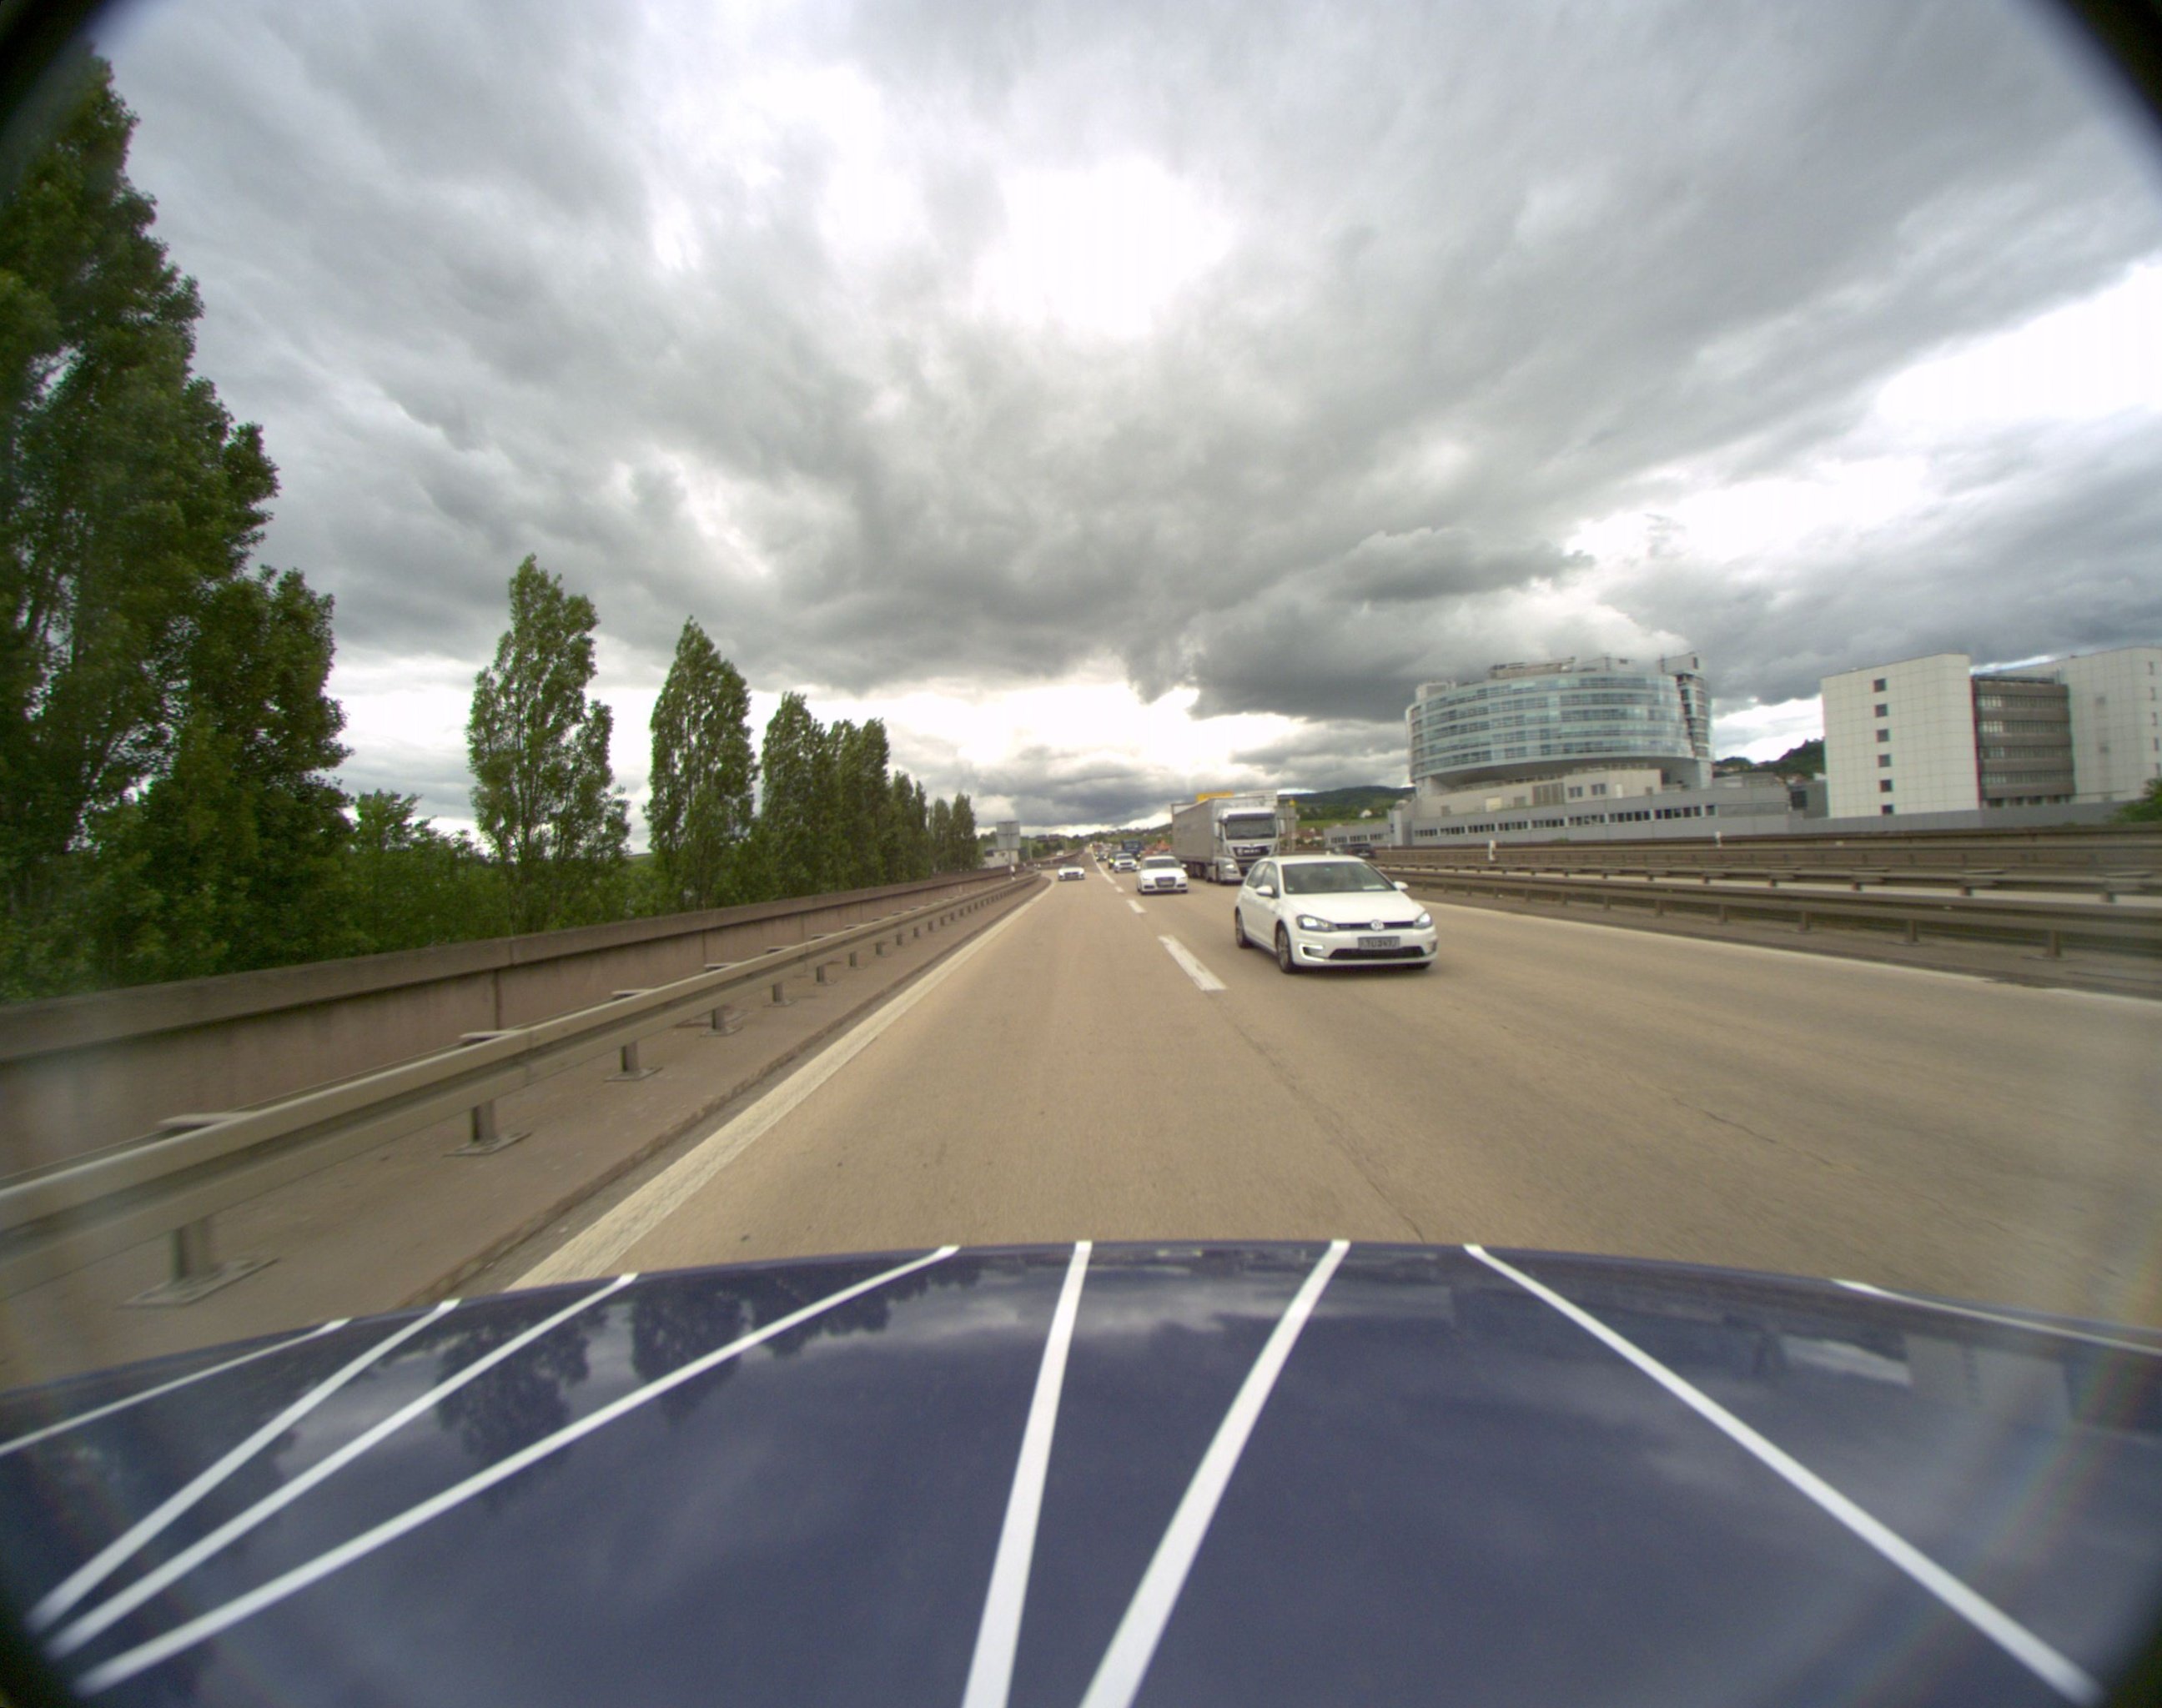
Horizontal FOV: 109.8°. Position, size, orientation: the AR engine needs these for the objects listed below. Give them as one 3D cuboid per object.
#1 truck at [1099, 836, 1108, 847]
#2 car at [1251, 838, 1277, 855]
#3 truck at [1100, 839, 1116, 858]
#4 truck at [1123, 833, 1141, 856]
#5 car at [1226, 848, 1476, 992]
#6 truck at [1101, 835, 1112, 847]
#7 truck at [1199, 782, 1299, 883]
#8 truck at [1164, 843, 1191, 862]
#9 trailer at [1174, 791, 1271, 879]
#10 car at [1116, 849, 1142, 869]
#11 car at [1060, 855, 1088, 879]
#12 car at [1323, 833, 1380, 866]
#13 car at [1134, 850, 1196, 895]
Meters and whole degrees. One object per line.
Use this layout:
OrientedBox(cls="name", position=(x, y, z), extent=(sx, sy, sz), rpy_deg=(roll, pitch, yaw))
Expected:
OrientedBox(cls="truck", position=(7.050, -3.936, 240.567), extent=(2.626, 3.219, 6.685), rpy_deg=(-2, 1, 1))
OrientedBox(cls="car", position=(19.062, -0.742, 79.153), extent=(1.687, 1.641, 3.775), rpy_deg=(-3, 1, 0))
OrientedBox(cls="truck", position=(4.867, -0.984, 137.677), extent=(2.626, 3.219, 6.685), rpy_deg=(-2, 1, 1))
OrientedBox(cls="truck", position=(7.687, -1.453, 115.642), extent=(2.336, 3.219, 6.685), rpy_deg=(-2, 1, 1))
OrientedBox(cls="car", position=(3.351, 0.709, 10.357), extent=(1.930, 1.499, 4.061), rpy_deg=(-2, 1, 0))
OrientedBox(cls="truck", position=(7.132, -3.668, 212.848), extent=(2.626, 3.219, 6.685), rpy_deg=(-2, 1, 1))
OrientedBox(cls="truck", position=(7.446, -0.921, 34.524), extent=(3.142, 4.014, 5.688), rpy_deg=(-4, 1, 1))
OrientedBox(cls="truck", position=(8.326, -0.115, 65.734), extent=(1.829, 1.521, 3.513), rpy_deg=(-2, 1, 0))
OrientedBox(cls="trailer", position=(7.530, -0.961, 42.477), extent=(3.189, 4.003, 11.764), rpy_deg=(-4, 0, 1))
OrientedBox(cls="car", position=(4.225, 0.392, 66.964), extent=(1.931, 1.585, 4.061), rpy_deg=(-3, 1, 0))
OrientedBox(cls="car", position=(-0.495, 0.909, 55.642), extent=(1.931, 1.499, 4.061), rpy_deg=(-3, 1, 0))
OrientedBox(cls="car", position=(14.607, -0.243, 41.263), extent=(1.687, 1.641, 3.775), rpy_deg=(-4, 1, 0))
OrientedBox(cls="car", position=(3.214, 0.673, 29.833), extent=(1.931, 1.499, 4.061), rpy_deg=(-3, 1, 0))
